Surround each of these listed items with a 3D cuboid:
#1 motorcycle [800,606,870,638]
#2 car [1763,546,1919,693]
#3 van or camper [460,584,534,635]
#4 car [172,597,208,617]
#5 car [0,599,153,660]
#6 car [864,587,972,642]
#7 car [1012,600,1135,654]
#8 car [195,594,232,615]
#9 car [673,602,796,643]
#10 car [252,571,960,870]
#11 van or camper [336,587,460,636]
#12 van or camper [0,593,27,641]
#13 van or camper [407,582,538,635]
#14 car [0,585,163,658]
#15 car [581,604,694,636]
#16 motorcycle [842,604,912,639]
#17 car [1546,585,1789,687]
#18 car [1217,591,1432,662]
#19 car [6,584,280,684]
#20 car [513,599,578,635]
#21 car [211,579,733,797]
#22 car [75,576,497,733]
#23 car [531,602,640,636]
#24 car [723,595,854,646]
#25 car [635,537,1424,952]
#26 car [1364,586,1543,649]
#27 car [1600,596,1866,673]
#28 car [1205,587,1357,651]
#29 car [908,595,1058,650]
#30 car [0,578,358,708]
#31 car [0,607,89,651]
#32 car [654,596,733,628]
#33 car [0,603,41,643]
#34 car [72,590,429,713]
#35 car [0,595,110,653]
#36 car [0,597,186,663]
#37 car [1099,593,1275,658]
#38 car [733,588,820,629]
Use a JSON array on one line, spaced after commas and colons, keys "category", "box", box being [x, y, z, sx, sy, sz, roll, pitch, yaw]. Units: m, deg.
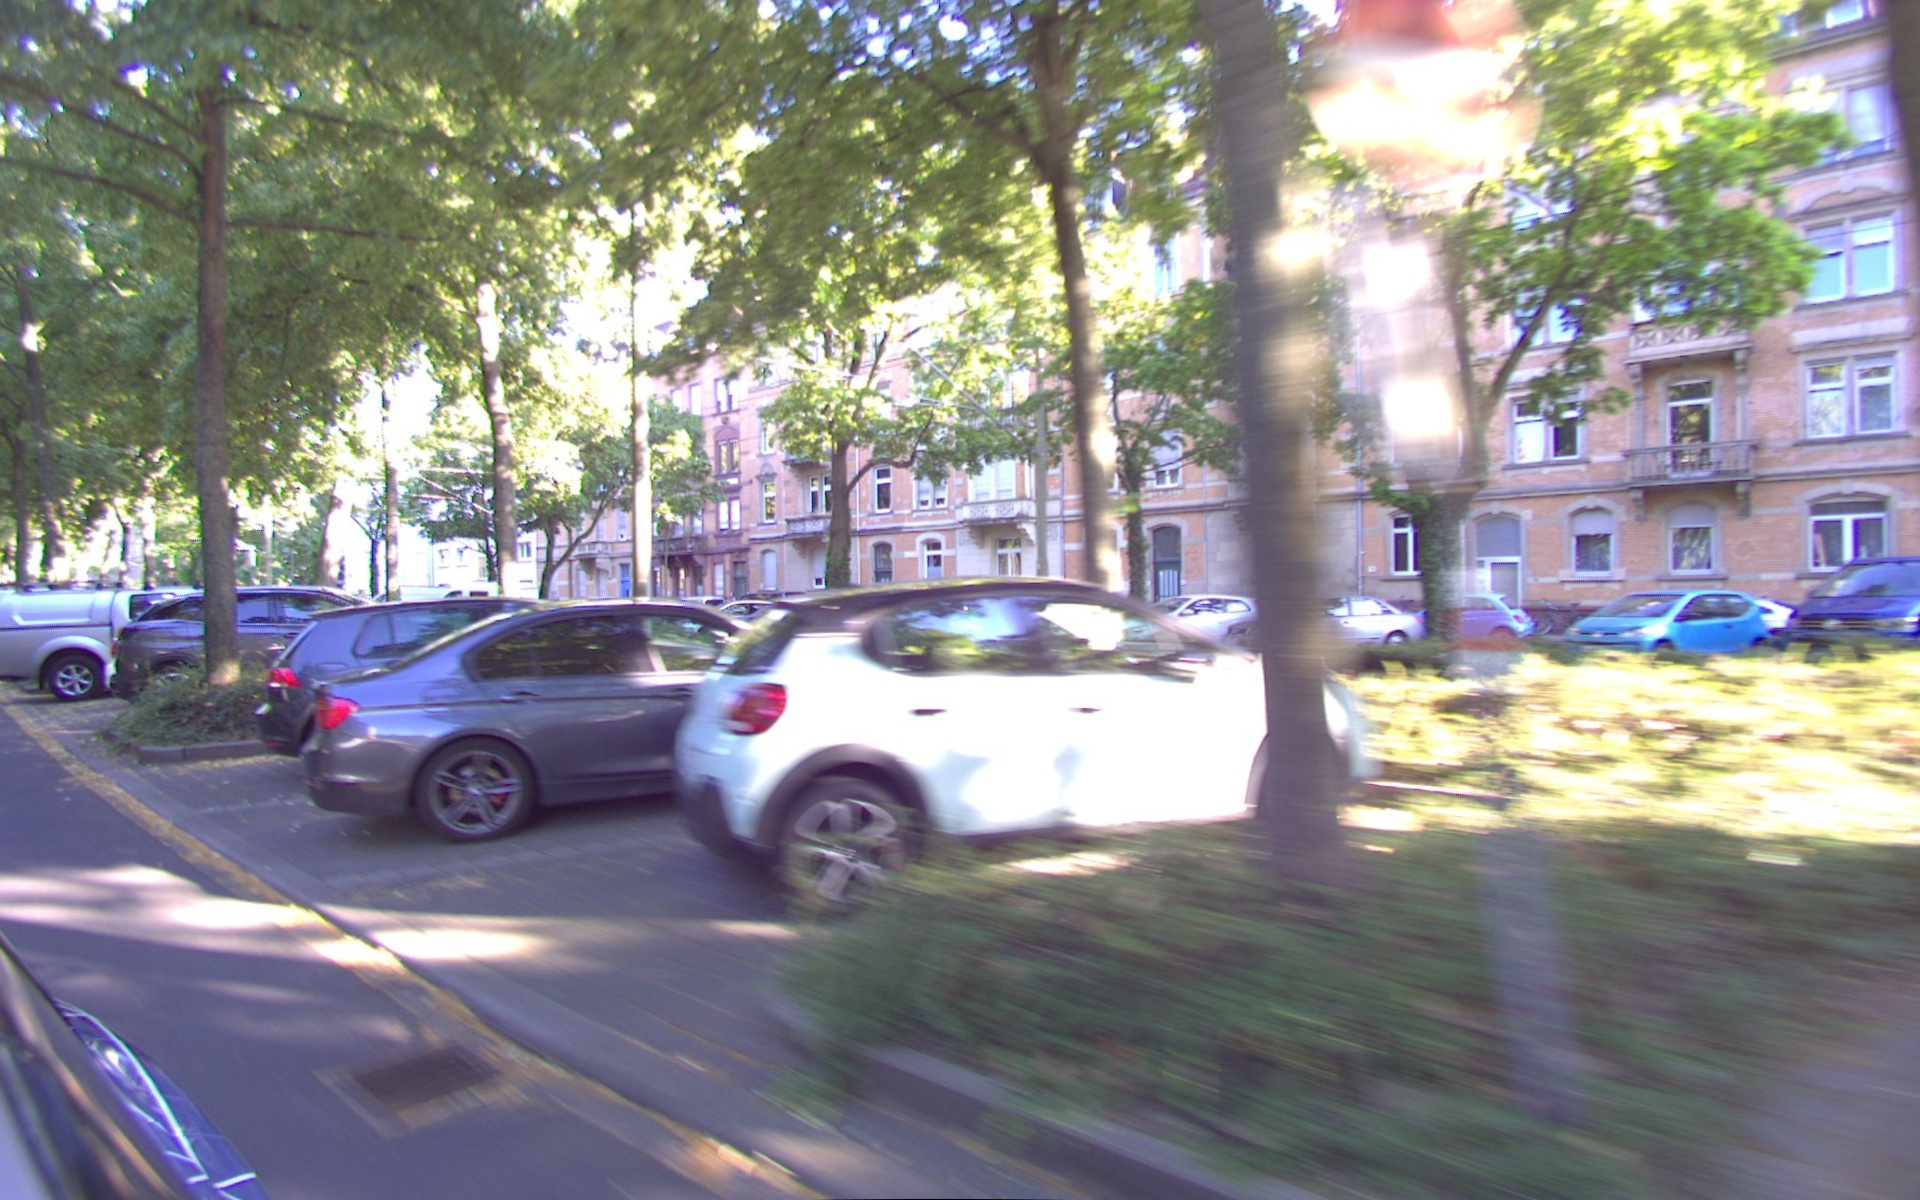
[{"category": "motorcycle", "box": [-3.692, 0.651, 29.840, 1.945, 0.895, 1.023, -1, -1, -12]}, {"category": "car", "box": [14.818, 0.261, 15.497, 3.932, 2.029, 2.006, 0, -1, -16]}, {"category": "van or camper", "box": [-29.630, 0.632, 64.704, 5.510, 3.133, 2.053, -1, -3, 40]}, {"category": "car", "box": [-79.424, 0.694, 104.333, 3.993, 2.029, 1.975, -1, -1, 37]}, {"category": "car", "box": [-28.631, 0.939, 31.983, 4.442, 1.628, 1.941, -4, 2, -24]}, {"category": "car", "box": [-1.713, 0.591, 40.535, 3.997, 2.028, 1.974, -2, 1, 40]}, {"category": "car", "box": [3.943, 0.933, 35.457, 3.996, 1.789, 1.776, -1, -1, 40]}, {"category": "car", "box": [-74.023, 0.447, 100.364, 3.993, 2.029, 1.975, -1, -1, 37]}, {"category": "car", "box": [-7.902, 0.766, 35.493, 3.931, 1.327, 1.599, -1, 0, -28]}, {"category": "car", "box": [-2.287, 0.627, 7.189, 4.128, 1.449, 1.838, -4, 2, -23]}, {"category": "van or camper", "box": [-29.754, 0.609, 53.791, 5.579, 2.487, 2.007, 0, -1, -24]}, {"category": "van or camper", "box": [-53.508, 1.012, 54.081, 4.802, 2.488, 2.052, -3, 2, -22]}, {"category": "van or camper", "box": [-23.071, 0.404, 48.156, 5.456, 2.389, 2.315, 0, -1, -21]}, {"category": "car", "box": [-30.585, 0.722, 34.083, 5.420, 2.153, 2.088, -3, 2, -18]}, {"category": "car", "box": [-12.712, 0.778, 39.886, 4.131, 1.176, 1.504, -1, 0, -20]}, {"category": "motorcycle", "box": [-2.372, 0.603, 28.862, 1.697, 0.962, 1.024, -1, -1, -28]}, {"category": "car", "box": [12.430, 0.589, 17.819, 3.588, 1.652, 1.666, 0, -1, -18]}, {"category": "car", "box": [7.834, 0.540, 21.820, 4.216, 1.391, 1.599, -1, -1, -17]}, {"category": "car", "box": [-17.317, 0.670, 21.669, 4.093, 1.794, 1.888, -3, 2, -11]}, {"category": "car", "box": [-24.749, 1.011, 60.413, 3.997, 2.029, 1.973, -1, -1, 40]}, {"category": "car", "box": [-4.173, 0.637, 9.173, 3.805, 1.449, 1.838, -4, 2, -23]}, {"category": "car", "box": [-8.682, 0.613, 13.551, 4.283, 1.638, 1.948, -3, 2, -20]}, {"category": "car", "box": [-15.392, 0.753, 41.682, 4.117, 1.320, 1.641, -1, 0, -19]}, {"category": "car", "box": [-5.704, 0.660, 33.575, 3.930, 1.590, 2.007, 0, -1, -23]}, {"category": "car", "box": [0.322, 0.516, 5.528, 3.818, 1.505, 1.838, -4, 2, -21]}, {"category": "car", "box": [13.498, 0.493, 27.789, 4.056, 1.530, 1.832, -2, 1, 40]}, {"category": "car", "box": [17.970, 0.792, 23.728, 4.768, 1.552, 1.832, -2, 1, 40]}, {"category": "car", "box": [9.632, 0.563, 30.501, 3.996, 1.789, 1.776, -1, -1, 40]}, {"category": "car", "box": [0.615, 0.575, 27.331, 3.674, 1.391, 1.713, -1, -1, -22]}, {"category": "car", "box": [-13.313, 0.641, 17.211, 4.916, 1.794, 1.994, -4, 2, -20]}, {"category": "car", "box": [-37.591, 1.200, 39.896, 4.495, 1.552, 1.940, -3, 2, -15]}, {"category": "car", "box": [-13.428, 0.641, 50.892, 4.021, 1.543, 1.832, -1, -3, 40]}, {"category": "car", "box": [-50.972, 1.272, 52.167, 4.802, 1.992, 2.052, -3, 2, -20]}, {"category": "car", "box": [-10.627, 0.702, 15.547, 4.089, 1.470, 1.777, -3, 2, -20]}, {"category": "car", "box": [-35.413, 0.923, 38.200, 4.634, 1.957, 1.940, -3, 2, -15]}, {"category": "car", "box": [-26.016, 0.869, 30.000, 4.443, 1.628, 1.859, -3, 2, -16]}, {"category": "car", "box": [5.299, 0.563, 23.690, 3.674, 1.391, 1.733, -1, -1, -23]}, {"category": "car", "box": [-8.530, 0.428, 46.919, 4.021, 1.796, 1.832, -1, -3, 40]}]
